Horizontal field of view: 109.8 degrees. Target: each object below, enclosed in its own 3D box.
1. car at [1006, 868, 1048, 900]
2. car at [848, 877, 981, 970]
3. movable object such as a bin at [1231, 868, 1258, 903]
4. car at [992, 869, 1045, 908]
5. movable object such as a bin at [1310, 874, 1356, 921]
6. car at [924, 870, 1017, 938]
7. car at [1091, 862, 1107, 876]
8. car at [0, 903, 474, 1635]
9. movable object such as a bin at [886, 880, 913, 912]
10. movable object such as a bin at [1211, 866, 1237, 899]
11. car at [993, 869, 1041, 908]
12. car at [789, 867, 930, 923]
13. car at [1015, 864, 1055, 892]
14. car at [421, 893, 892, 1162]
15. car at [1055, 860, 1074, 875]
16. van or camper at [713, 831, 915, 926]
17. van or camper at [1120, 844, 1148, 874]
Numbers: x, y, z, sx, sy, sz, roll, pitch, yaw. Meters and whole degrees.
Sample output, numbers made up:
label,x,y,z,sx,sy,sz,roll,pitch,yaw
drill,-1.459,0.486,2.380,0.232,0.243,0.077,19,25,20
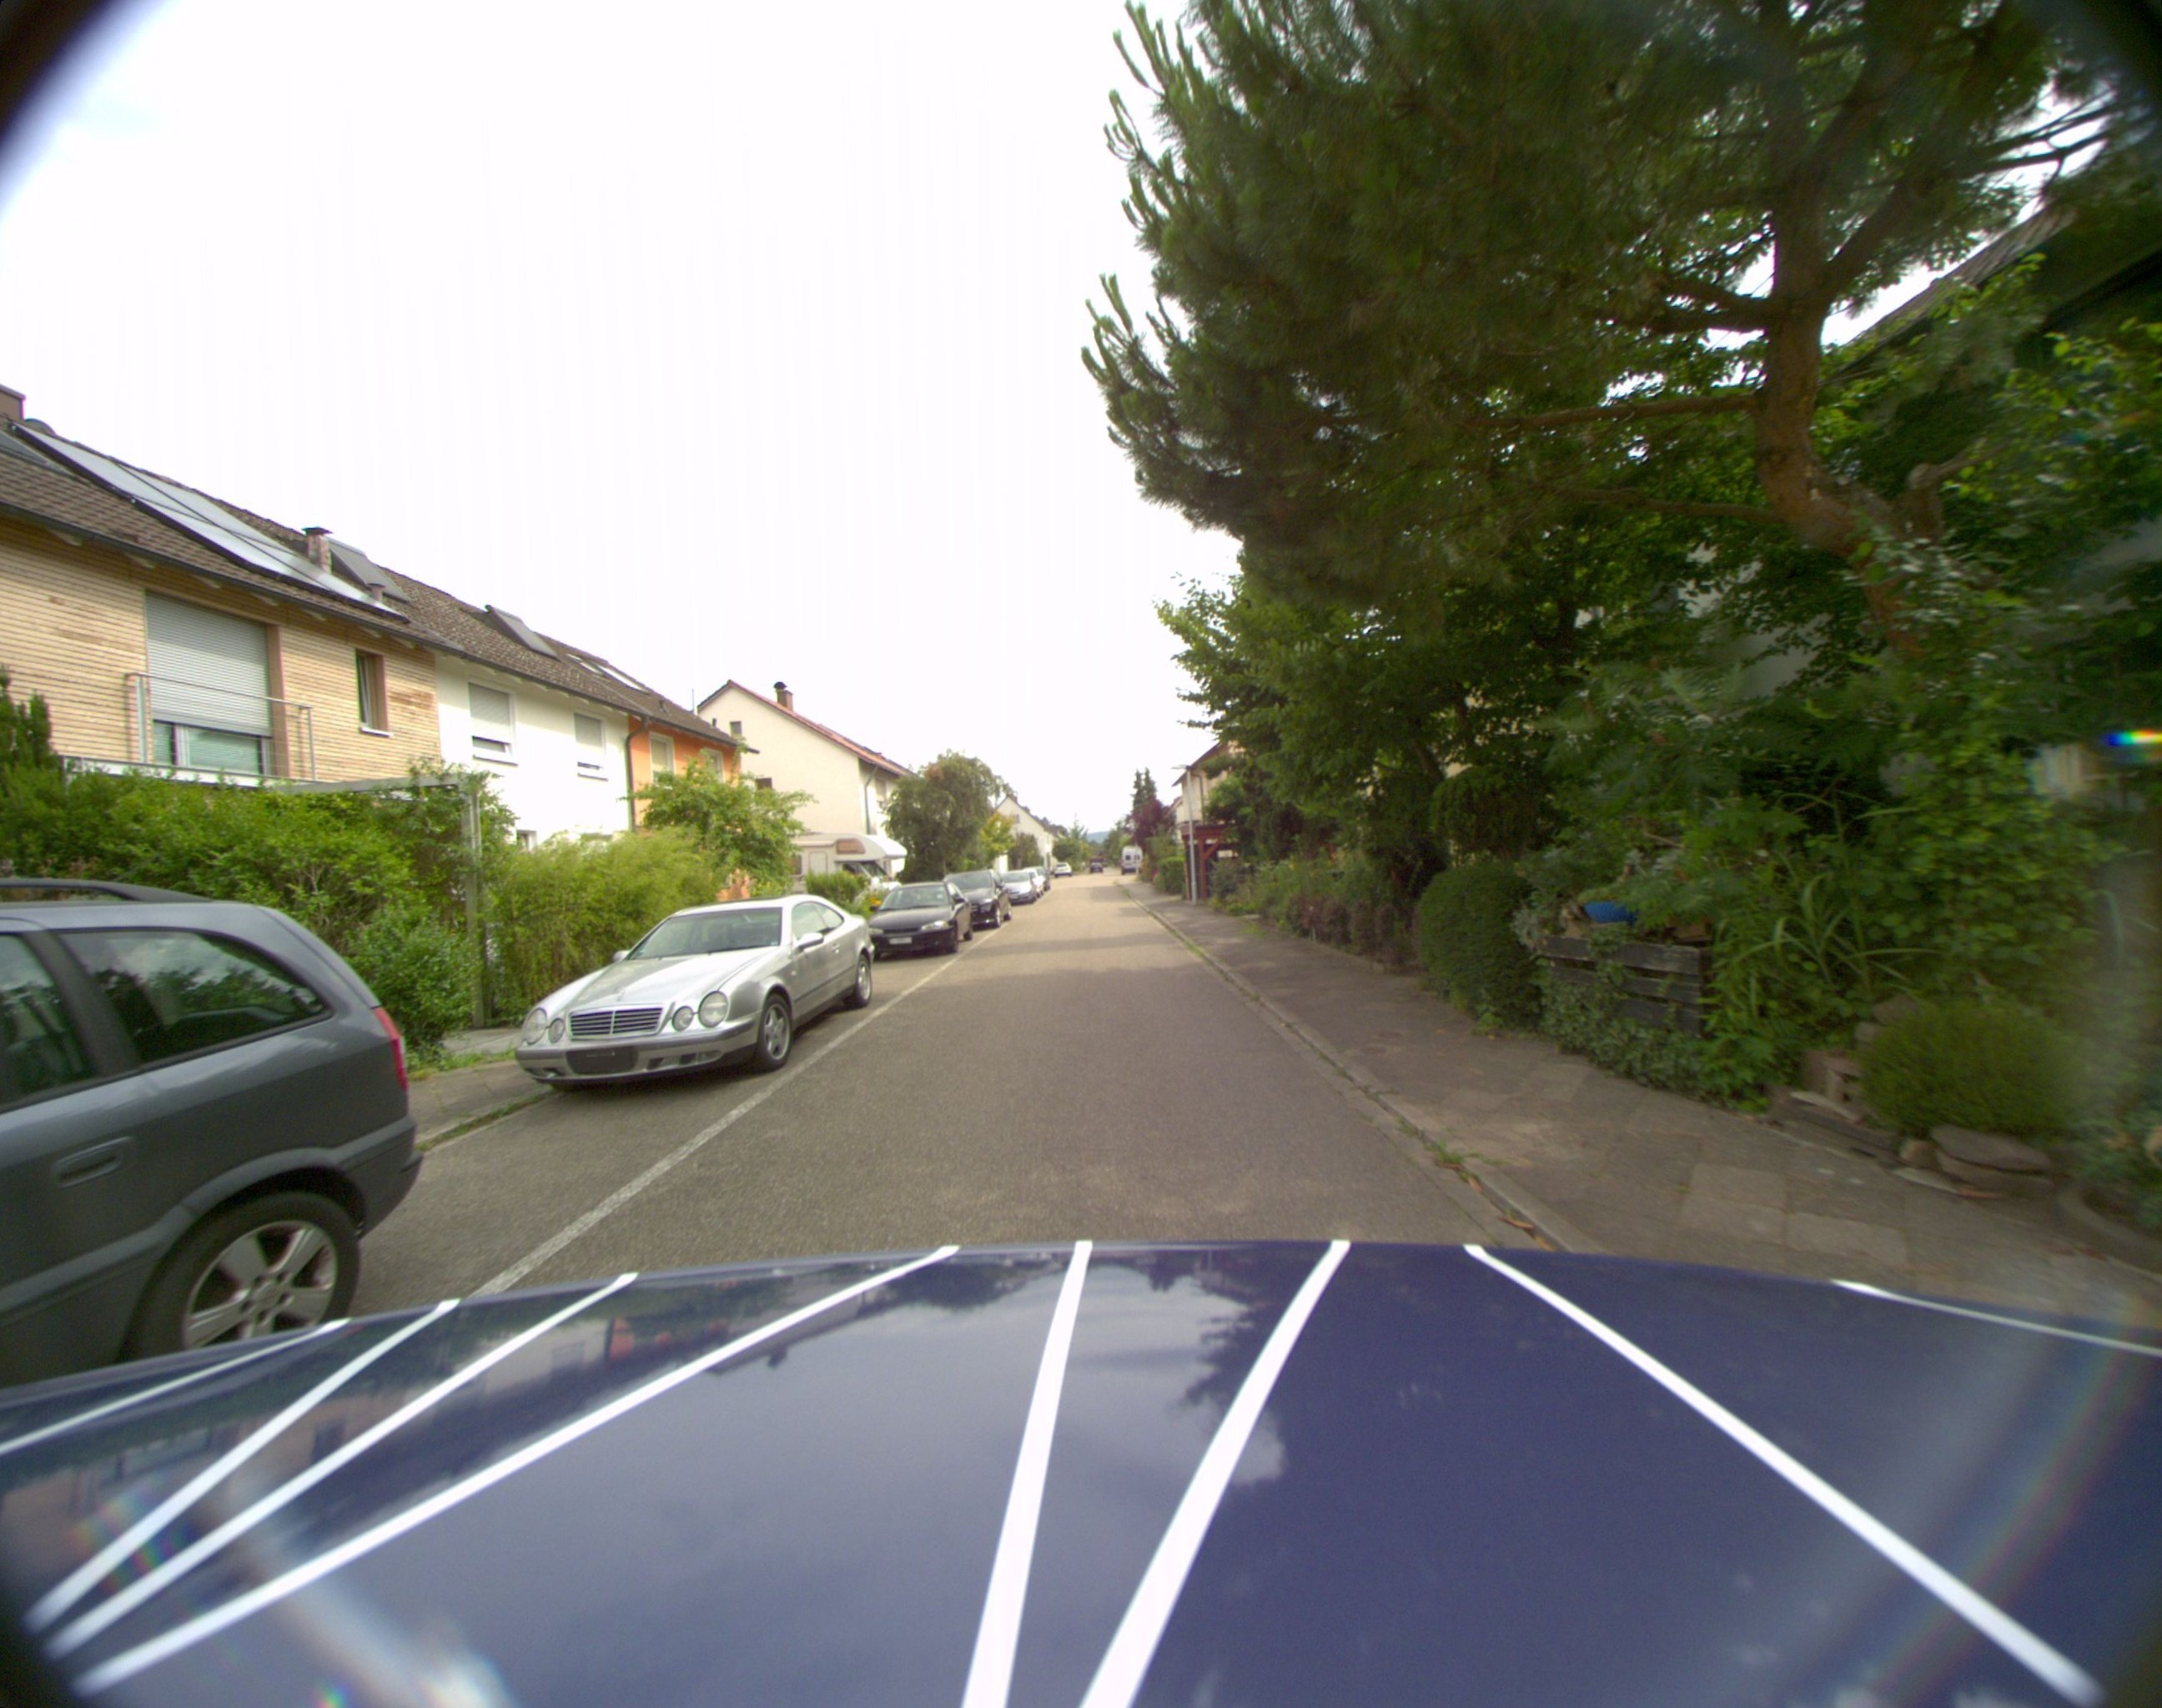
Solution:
label,x,y,z,sx,sy,sz,roll,pitch,yaw
car,-2.717,1.480,38.827,1.697,1.356,4.698,-4,0,0
car,-3.164,1.267,15.255,1.737,1.419,4.125,-4,0,-1
movable object such as a bin,5.596,1.079,26.002,0.705,1.123,0.877,-3,0,1
car,-2.669,1.464,33.359,1.746,1.462,4.218,-3,-1,2
movable object such as a bin,5.472,0.933,16.551,0.713,0.951,0.751,-3,0,1
car,-2.901,1.276,20.910,1.753,1.458,4.648,-4,0,1
car,2.523,2.025,105.585,1.998,1.696,4.001,-4,0,5
car,-3.512,1.067,0.950,1.872,1.643,4.464,-4,0,-1
movable object such as a bin,-7.252,1.682,30.386,0.721,1.186,1.099,-3,0,1
movable object such as a bin,4.884,0.973,26.001,0.705,1.065,0.822,-3,0,1
car,-2.721,1.454,33.232,1.707,1.433,4.220,-5,0,-1
car,-8.138,1.491,28.174,4.541,1.698,1.900,-4,0,4
car,-2.698,1.399,45.517,1.872,1.431,4.851,-4,0,2
car,-3.380,1.265,7.391,1.872,1.399,4.767,-5,0,-1
car,-1.891,1.530,86.046,1.999,1.589,3.999,-4,0,-2
van or camper,-8.941,0.805,25.885,5.812,2.801,2.537,-3,0,3
van or camper,5.253,0.522,76.295,2.346,2.719,5.748,-4,0,2
